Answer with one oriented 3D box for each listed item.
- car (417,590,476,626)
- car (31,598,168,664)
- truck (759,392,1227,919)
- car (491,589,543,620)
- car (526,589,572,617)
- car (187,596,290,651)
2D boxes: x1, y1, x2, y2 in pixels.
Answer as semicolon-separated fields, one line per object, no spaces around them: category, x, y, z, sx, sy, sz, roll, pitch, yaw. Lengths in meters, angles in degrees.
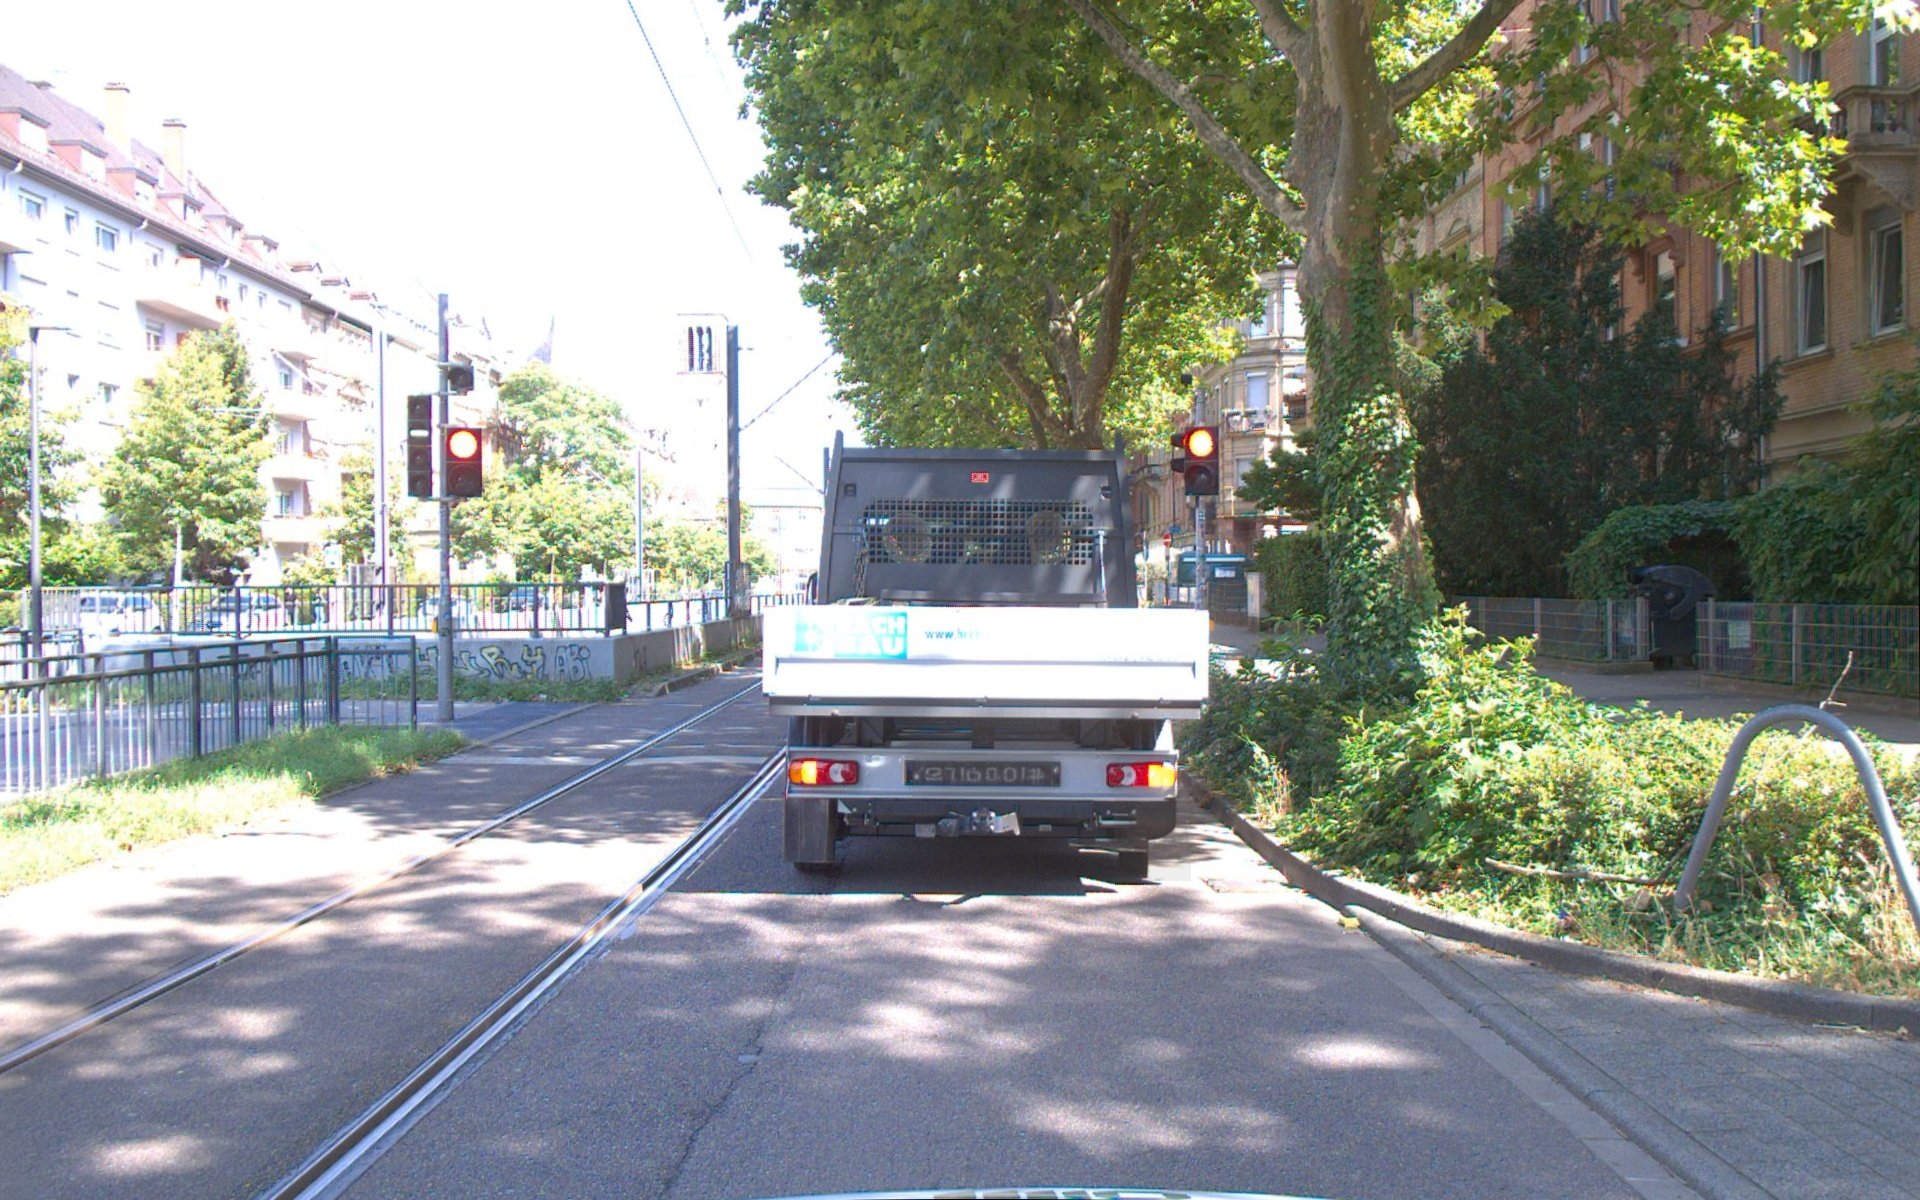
car;-22.508;0.329;72.674;1.737;1.524;3.994;-1;0;-7
car;-22.006;0.754;42.462;1.737;1.524;3.994;-2;1;-6
truck;0.152;0.228;9.614;2.094;2.359;4.401;0;0;0
car;-22.989;0.226;86.031;1.735;1.524;3.998;-1;0;-2
car;-23.278;0.165;93.863;1.735;1.524;3.998;-1;0;-2
car;-22.195;0.688;51.039;1.737;1.524;3.994;-2;1;-6
